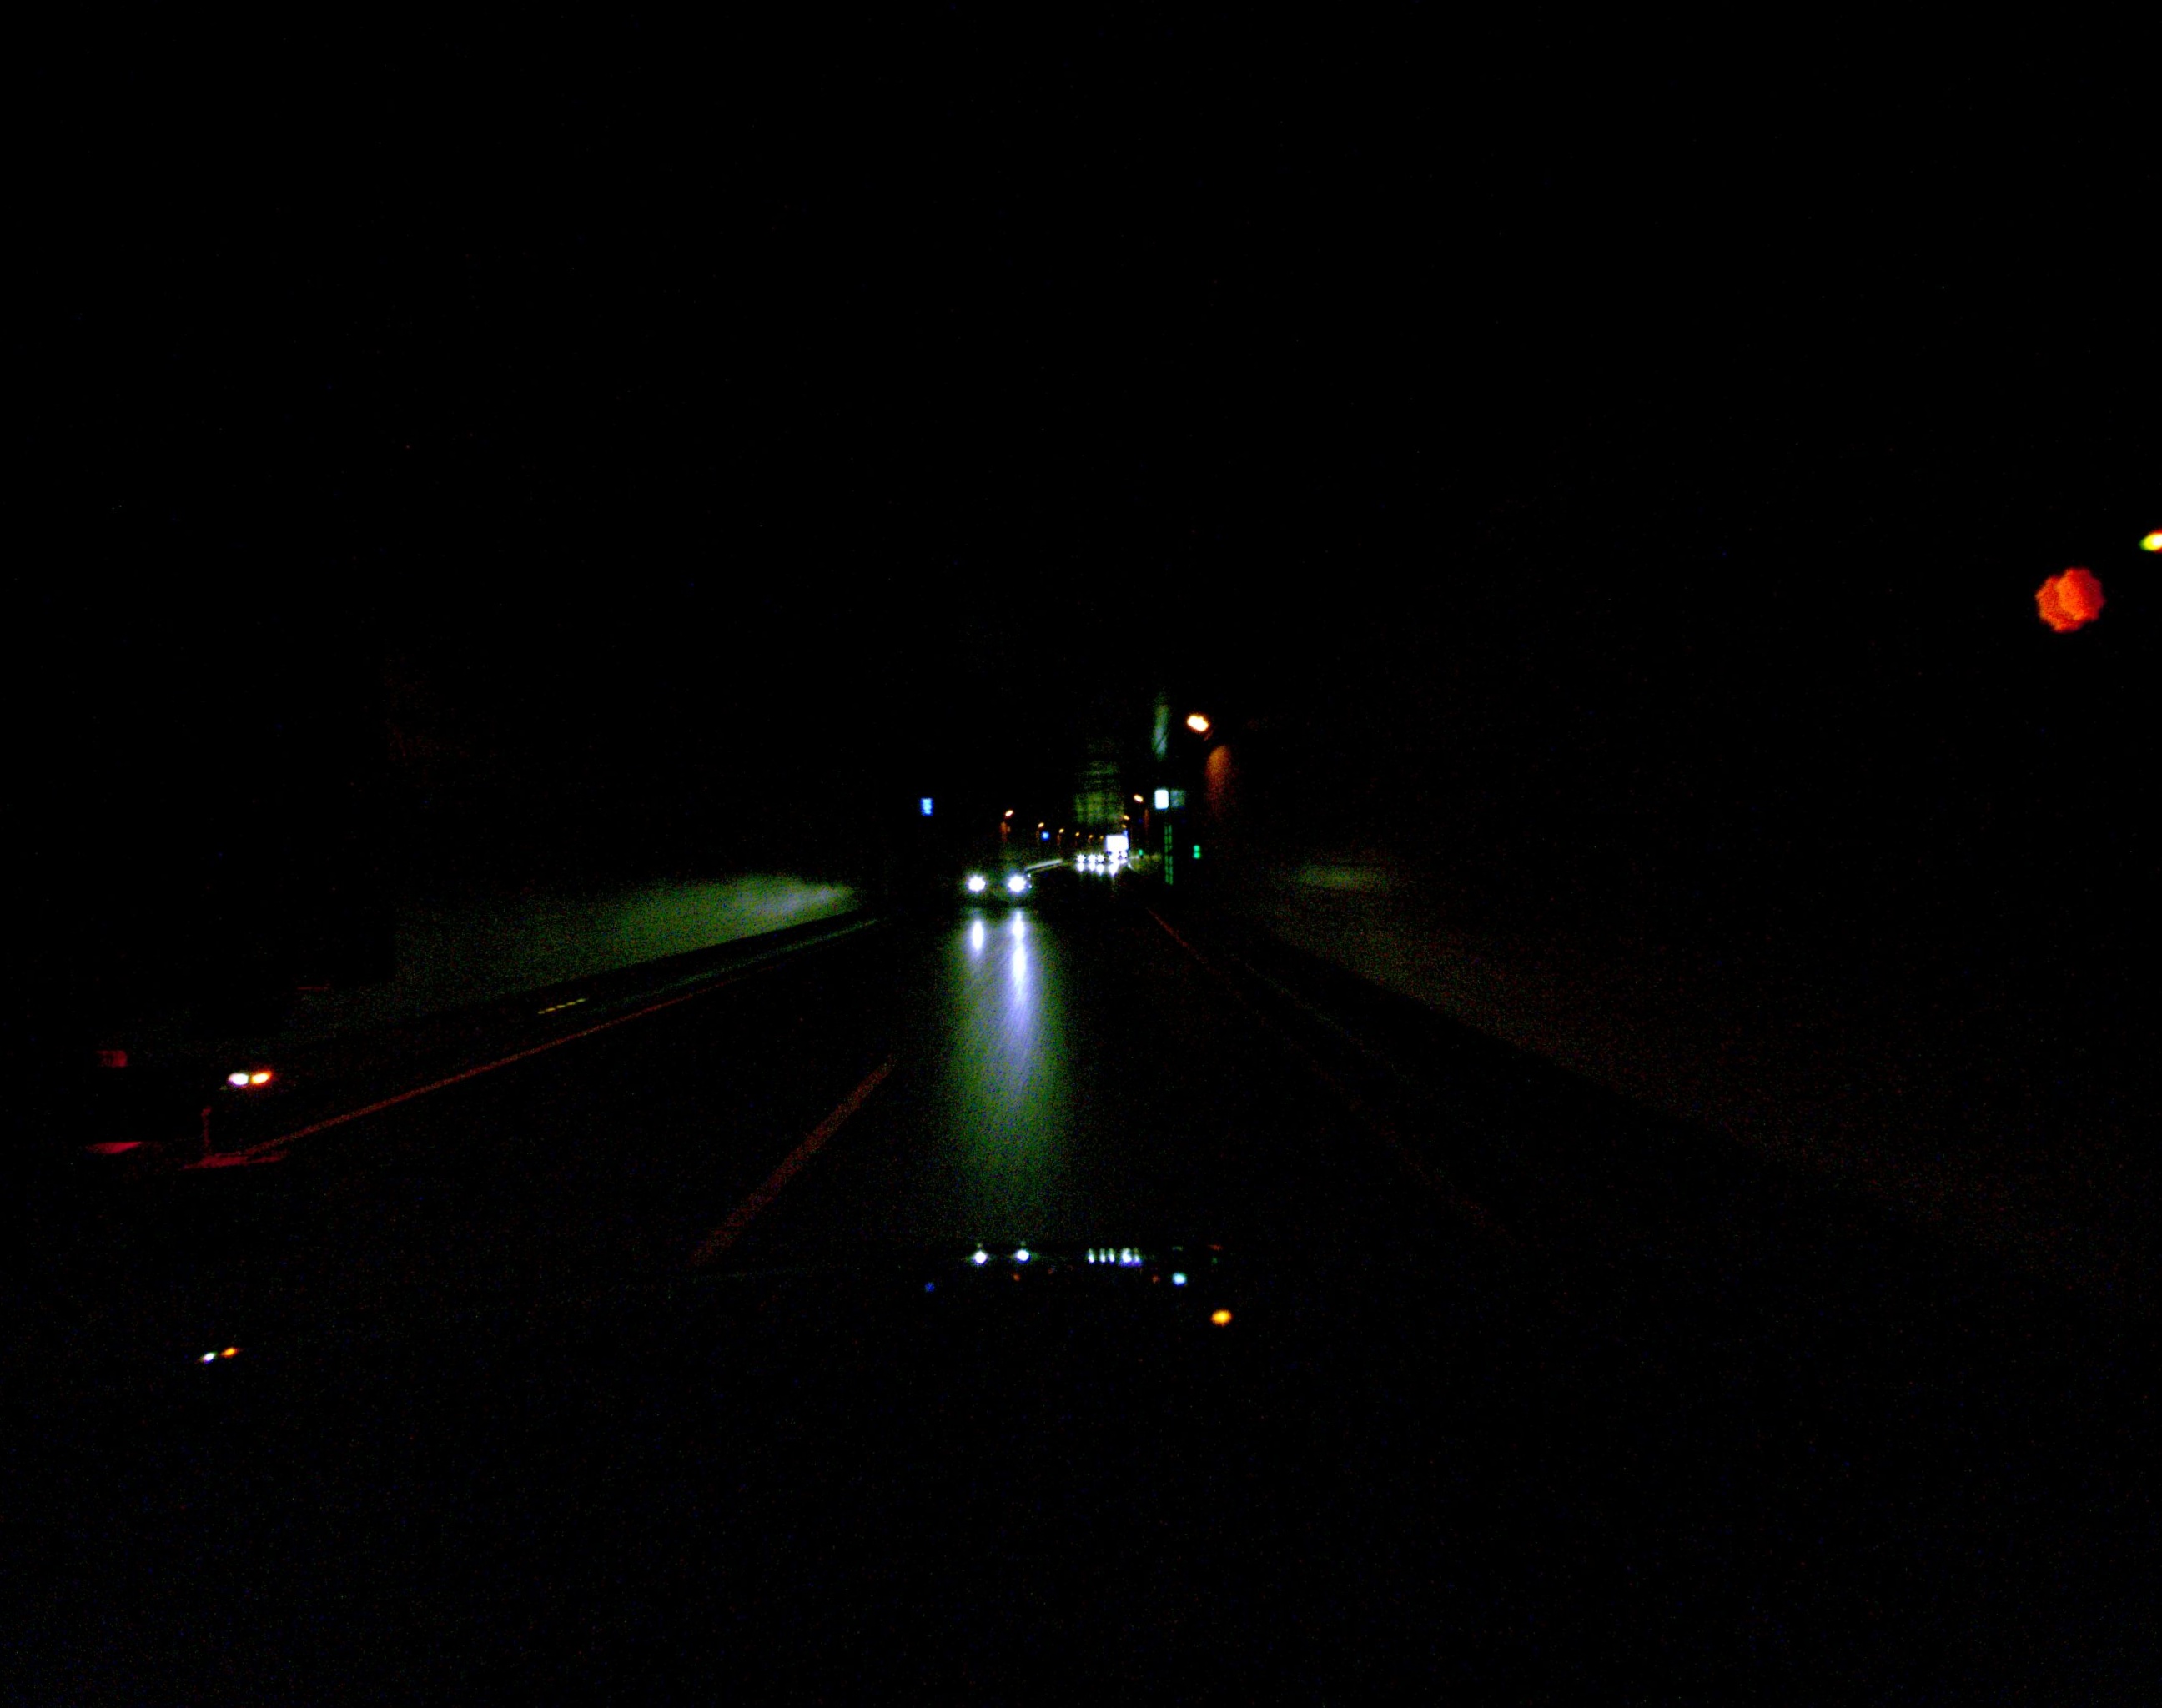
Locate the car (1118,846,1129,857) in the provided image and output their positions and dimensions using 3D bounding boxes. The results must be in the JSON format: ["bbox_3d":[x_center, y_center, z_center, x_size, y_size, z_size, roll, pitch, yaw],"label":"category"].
[{"bbox_3d":[7.624,-0.516,135.697,1.714,1.729,4.000,-2,2,6],"label":"car"}]

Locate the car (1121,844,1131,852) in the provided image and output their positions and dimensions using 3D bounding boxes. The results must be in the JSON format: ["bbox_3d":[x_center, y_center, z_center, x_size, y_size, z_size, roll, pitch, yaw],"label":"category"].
[{"bbox_3d":[10.077,-1.365,169.015,1.810,1.576,4.002,-3,0,7],"label":"car"}]

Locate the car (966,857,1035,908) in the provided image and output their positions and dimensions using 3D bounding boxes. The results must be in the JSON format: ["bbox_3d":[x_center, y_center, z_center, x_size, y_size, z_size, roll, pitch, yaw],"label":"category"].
[{"bbox_3d":[-2.539,0.864,24.779,1.735,1.395,3.798,-2,1,0],"label":"car"}]

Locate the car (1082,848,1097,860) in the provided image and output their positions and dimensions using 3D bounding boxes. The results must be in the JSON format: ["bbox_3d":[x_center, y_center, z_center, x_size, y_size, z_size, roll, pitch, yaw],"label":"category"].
[{"bbox_3d":[1.196,0.041,106.564,1.735,1.565,4.001,-3,0,4],"label":"car"}]

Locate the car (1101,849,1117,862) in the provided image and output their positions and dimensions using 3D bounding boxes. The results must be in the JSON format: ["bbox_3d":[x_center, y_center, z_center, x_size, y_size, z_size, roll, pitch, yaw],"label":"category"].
[{"bbox_3d":[3.527,0.194,95.658,1.819,1.589,4.001,0,0,5],"label":"car"}]

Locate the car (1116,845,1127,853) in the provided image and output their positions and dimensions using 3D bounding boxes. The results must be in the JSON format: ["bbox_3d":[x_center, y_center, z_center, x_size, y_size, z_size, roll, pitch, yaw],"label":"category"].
[{"bbox_3d":[10.012,-1.195,187.683,1.997,1.904,4.002,-2,1,10],"label":"car"}]
